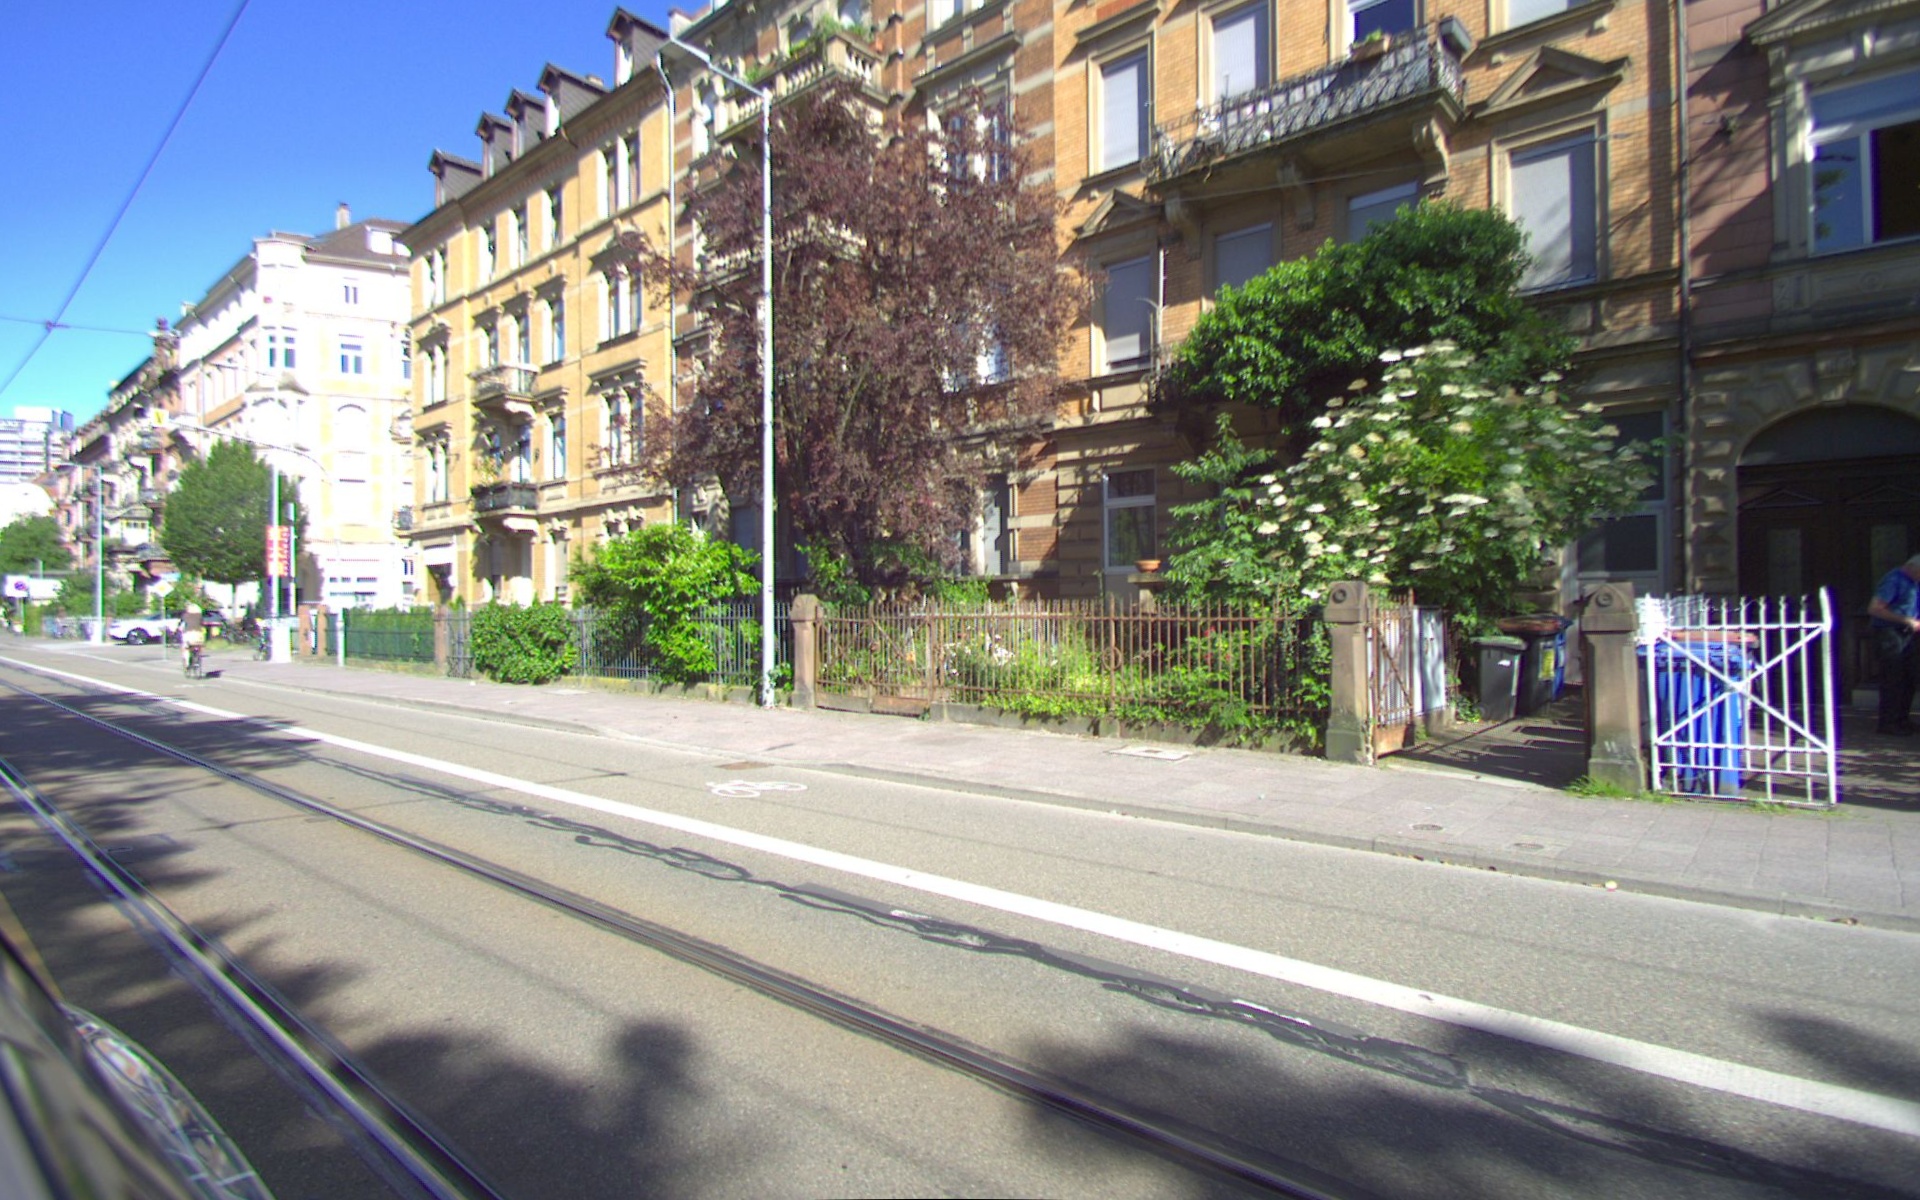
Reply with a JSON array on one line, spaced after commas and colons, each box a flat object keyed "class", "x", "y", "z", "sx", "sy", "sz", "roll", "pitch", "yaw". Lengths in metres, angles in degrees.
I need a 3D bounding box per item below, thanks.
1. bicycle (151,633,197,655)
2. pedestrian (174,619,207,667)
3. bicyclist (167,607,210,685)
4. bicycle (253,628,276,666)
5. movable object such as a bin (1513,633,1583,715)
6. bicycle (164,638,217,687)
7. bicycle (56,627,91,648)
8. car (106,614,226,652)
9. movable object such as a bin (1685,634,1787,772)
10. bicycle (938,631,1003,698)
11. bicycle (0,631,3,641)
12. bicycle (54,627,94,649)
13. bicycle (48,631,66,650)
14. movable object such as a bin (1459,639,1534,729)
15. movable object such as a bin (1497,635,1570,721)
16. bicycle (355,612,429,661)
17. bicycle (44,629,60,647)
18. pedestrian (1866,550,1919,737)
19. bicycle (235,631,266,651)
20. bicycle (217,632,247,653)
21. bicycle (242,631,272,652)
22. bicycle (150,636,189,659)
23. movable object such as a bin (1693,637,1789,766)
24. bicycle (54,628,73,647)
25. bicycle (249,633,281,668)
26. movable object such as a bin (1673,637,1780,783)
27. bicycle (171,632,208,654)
[{"class": "bicycle", "x": -36.082, "y": 1.994, "z": 46.489, "sx": 0.613, "sy": 0.921, "sz": 1.785, "roll": 0, "pitch": 0, "yaw": 6}, {"class": "pedestrian", "x": -28.467, "y": 1.574, "z": 37.446, "sx": 0.820, "sy": 1.736, "sz": 1.083, "roll": -1, "pitch": 1, "yaw": -44}, {"class": "bicyclist", "x": -18.421, "y": 1.090, "z": 24.160, "sx": 0.615, "sy": 1.815, "sz": 0.653, "roll": -1, "pitch": -3, "yaw": 42}, {"class": "bicycle", "x": -21.254, "y": 1.420, "z": 30.915, "sx": 0.808, "sy": 1.135, "sz": 0.367, "roll": -2, "pitch": 0, "yaw": 42}, {"class": "movable object such as a bin", "x": 7.035, "y": 0.867, "z": 12.099, "sx": 0.604, "sy": 0.910, "sz": 0.580, "roll": -2, "pitch": 2, "yaw": 41}, {"class": "bicycle", "x": -18.268, "y": 1.458, "z": 24.014, "sx": 1.718, "sy": 1.121, "sz": 0.684, "roll": -2, "pitch": -3, "yaw": 42}, {"class": "bicycle", "x": -48.420, "y": 2.029, "z": 55.285, "sx": 1.752, "sy": 1.041, "sz": 0.562, "roll": -3, "pitch": 2, "yaw": 17}, {"class": "car", "x": -39.181, "y": 1.576, "z": 50.005, "sx": 1.967, "sy": 1.656, "sz": 4.396, "roll": -1, "pitch": 0, "yaw": 44}, {"class": "movable object such as a bin", "x": 6.473, "y": 0.828, "z": 8.438, "sx": 0.619, "sy": 1.062, "sz": 0.579, "roll": -2, "pitch": 0, "yaw": 41}, {"class": "bicycle", "x": 0.181, "y": 1.010, "z": 16.099, "sx": 1.134, "sy": 0.979, "sz": 0.295, "roll": -2, "pitch": 0, "yaw": -45}, {"class": "bicycle", "x": -84.878, "y": 3.183, "z": 89.475, "sx": 0.338, "sy": 0.933, "sz": 1.944, "roll": -1, "pitch": 0, "yaw": -44}, {"class": "bicycle", "x": -47.274, "y": 2.023, "z": 54.000, "sx": 1.745, "sy": 1.041, "sz": 0.564, "roll": -3, "pitch": -1, "yaw": 5}, {"class": "bicycle", "x": -52.748, "y": 2.367, "z": 59.096, "sx": 1.766, "sy": 1.041, "sz": 0.557, "roll": -2, "pitch": 0, "yaw": 41}, {"class": "movable object such as a bin", "x": 5.984, "y": 0.918, "z": 11.282, "sx": 0.604, "sy": 0.910, "sz": 0.580, "roll": -2, "pitch": 2, "yaw": 41}, {"class": "movable object such as a bin", "x": 6.596, "y": 0.881, "z": 11.638, "sx": 0.604, "sy": 0.910, "sz": 0.580, "roll": -2, "pitch": 2, "yaw": 41}, {"class": "bicycle", "x": -16.232, "y": 1.028, "z": 28.945, "sx": 0.612, "sy": 1.330, "sz": 1.749, "roll": -2, "pitch": 0, "yaw": 32}, {"class": "bicycle", "x": -55.530, "y": 2.328, "z": 61.893, "sx": 1.767, "sy": 1.041, "sz": 0.557, "roll": -3, "pitch": -1, "yaw": 42}, {"class": "pedestrian", "x": 8.795, "y": 0.390, "z": 9.334, "sx": 0.607, "sy": 1.686, "sz": 0.508, "roll": -2, "pitch": 0, "yaw": 41}, {"class": "bicycle", "x": -34.214, "y": 1.975, "z": 48.817, "sx": 0.244, "sy": 0.921, "sz": 1.540, "roll": 0, "pitch": 0, "yaw": 6}, {"class": "bicycle", "x": -33.370, "y": 1.949, "z": 46.396, "sx": 0.611, "sy": 0.921, "sz": 1.297, "roll": 0, "pitch": 0, "yaw": -10}, {"class": "bicycle", "x": -33.892, "y": 2.001, "z": 48.830, "sx": 0.244, "sy": 0.921, "sz": 1.540, "roll": 0, "pitch": 0, "yaw": 6}, {"class": "bicycle", "x": -33.968, "y": 2.034, "z": 43.516, "sx": 0.613, "sy": 0.921, "sz": 1.292, "roll": 0, "pitch": 0, "yaw": 6}, {"class": "movable object such as a bin", "x": 6.916, "y": 0.872, "z": 8.962, "sx": 0.619, "sy": 1.062, "sz": 0.579, "roll": -2, "pitch": 0, "yaw": 41}, {"class": "bicycle", "x": -51.199, "y": 2.149, "z": 57.789, "sx": 1.766, "sy": 1.041, "sz": 0.557, "roll": -2, "pitch": 0, "yaw": 41}, {"class": "bicycle", "x": -20.763, "y": 1.484, "z": 30.225, "sx": 1.869, "sy": 1.008, "sz": 0.331, "roll": -2, "pitch": 0, "yaw": 42}, {"class": "movable object such as a bin", "x": 6.035, "y": 0.835, "z": 7.966, "sx": 0.619, "sy": 1.062, "sz": 0.579, "roll": -2, "pitch": 0, "yaw": 41}, {"class": "bicycle", "x": -34.788, "y": 1.922, "z": 45.698, "sx": 0.613, "sy": 0.921, "sz": 1.292, "roll": 0, "pitch": 0, "yaw": 6}]
